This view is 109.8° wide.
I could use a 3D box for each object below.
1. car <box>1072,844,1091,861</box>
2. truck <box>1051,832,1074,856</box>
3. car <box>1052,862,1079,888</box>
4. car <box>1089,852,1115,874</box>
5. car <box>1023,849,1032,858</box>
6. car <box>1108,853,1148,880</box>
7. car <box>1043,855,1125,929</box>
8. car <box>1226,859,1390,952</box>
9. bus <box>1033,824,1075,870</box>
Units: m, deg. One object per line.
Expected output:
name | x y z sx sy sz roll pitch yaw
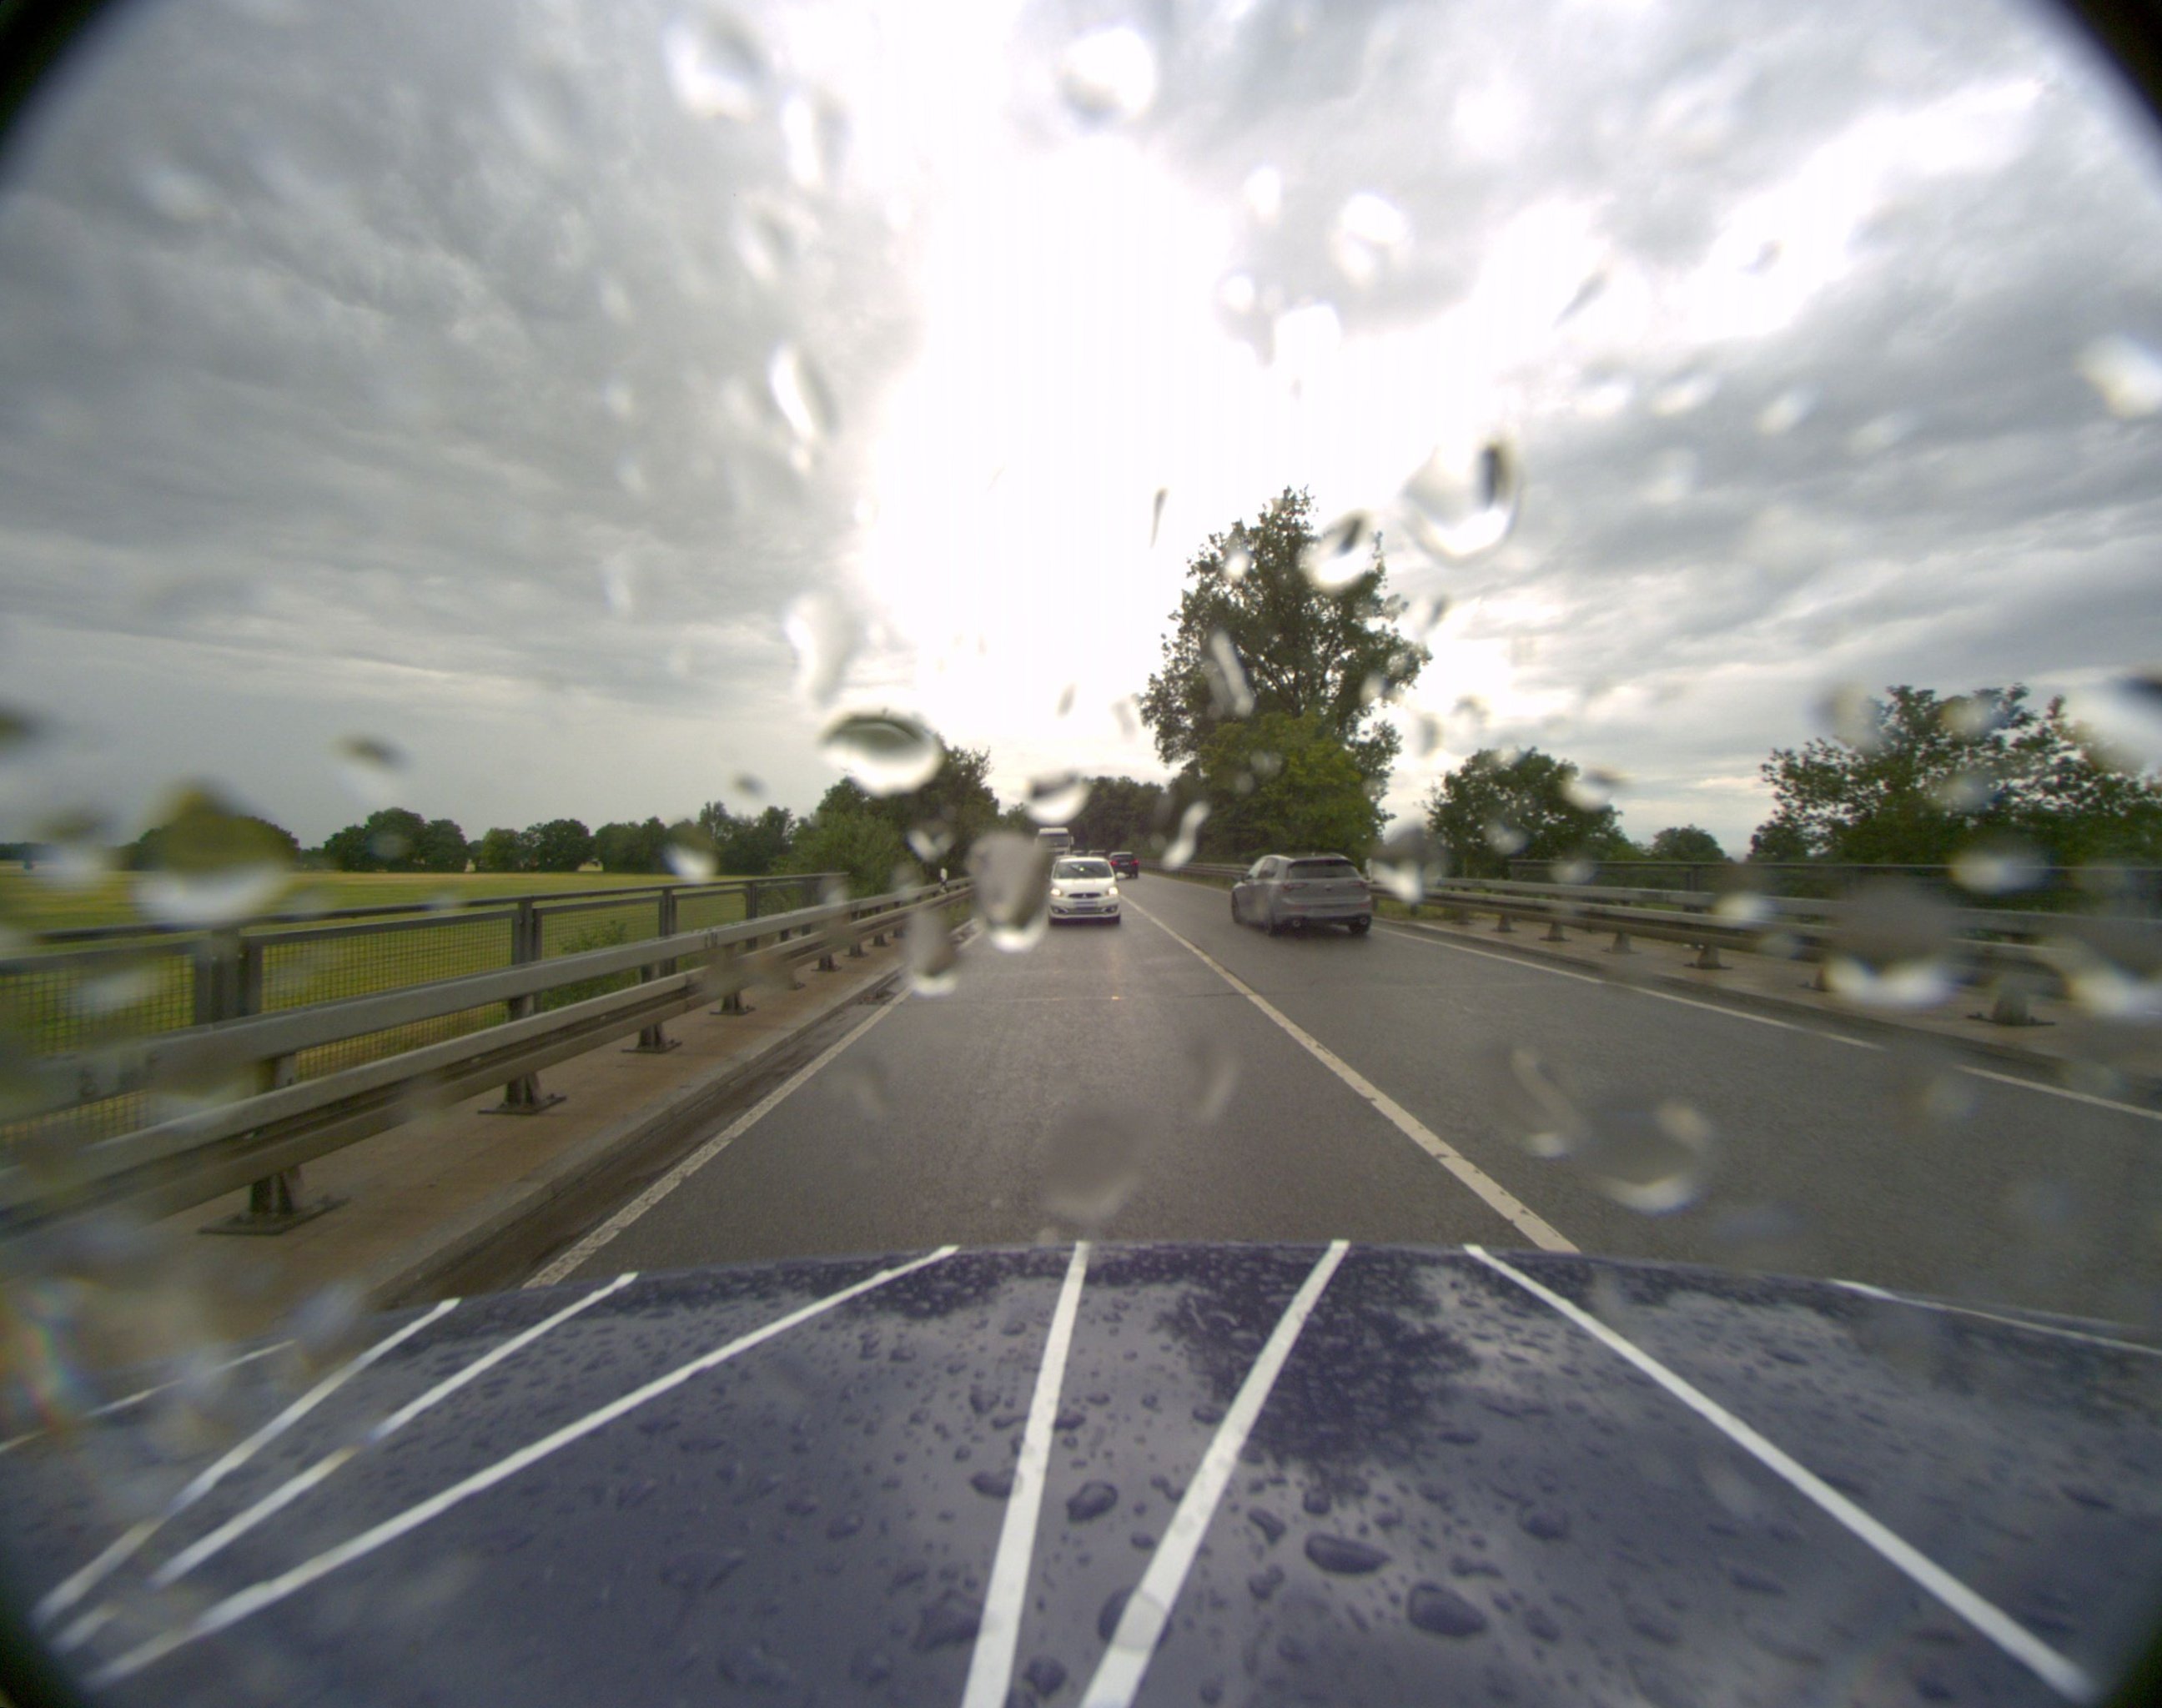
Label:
car | 0.037 -0.129 77.764 1.751 1.644 4.524 -2 0 -1
truck | -3.006 -1.661 120.157 2.779 3.410 9.180 -5 2 -5
car | -0.852 1.169 43.318 1.476 1.410 3.428 -1 0 -1
car | 1.701 0.703 63.116 1.846 1.690 4.388 -2 0 -2
car | -9.214 -0.059 130.845 1.393 1.470 3.225 -1 1 -5
car | 2.881 0.770 47.304 1.905 1.532 4.021 -2 0 -4
car | 0.010 0.820 18.257 1.701 1.471 4.062 -2 1 -2
car | 4.122 0.865 14.541 1.840 1.435 4.103 -2 0 -1
bus | -2.304 -0.555 64.434 3.064 3.405 13.636 -2 1 -2
